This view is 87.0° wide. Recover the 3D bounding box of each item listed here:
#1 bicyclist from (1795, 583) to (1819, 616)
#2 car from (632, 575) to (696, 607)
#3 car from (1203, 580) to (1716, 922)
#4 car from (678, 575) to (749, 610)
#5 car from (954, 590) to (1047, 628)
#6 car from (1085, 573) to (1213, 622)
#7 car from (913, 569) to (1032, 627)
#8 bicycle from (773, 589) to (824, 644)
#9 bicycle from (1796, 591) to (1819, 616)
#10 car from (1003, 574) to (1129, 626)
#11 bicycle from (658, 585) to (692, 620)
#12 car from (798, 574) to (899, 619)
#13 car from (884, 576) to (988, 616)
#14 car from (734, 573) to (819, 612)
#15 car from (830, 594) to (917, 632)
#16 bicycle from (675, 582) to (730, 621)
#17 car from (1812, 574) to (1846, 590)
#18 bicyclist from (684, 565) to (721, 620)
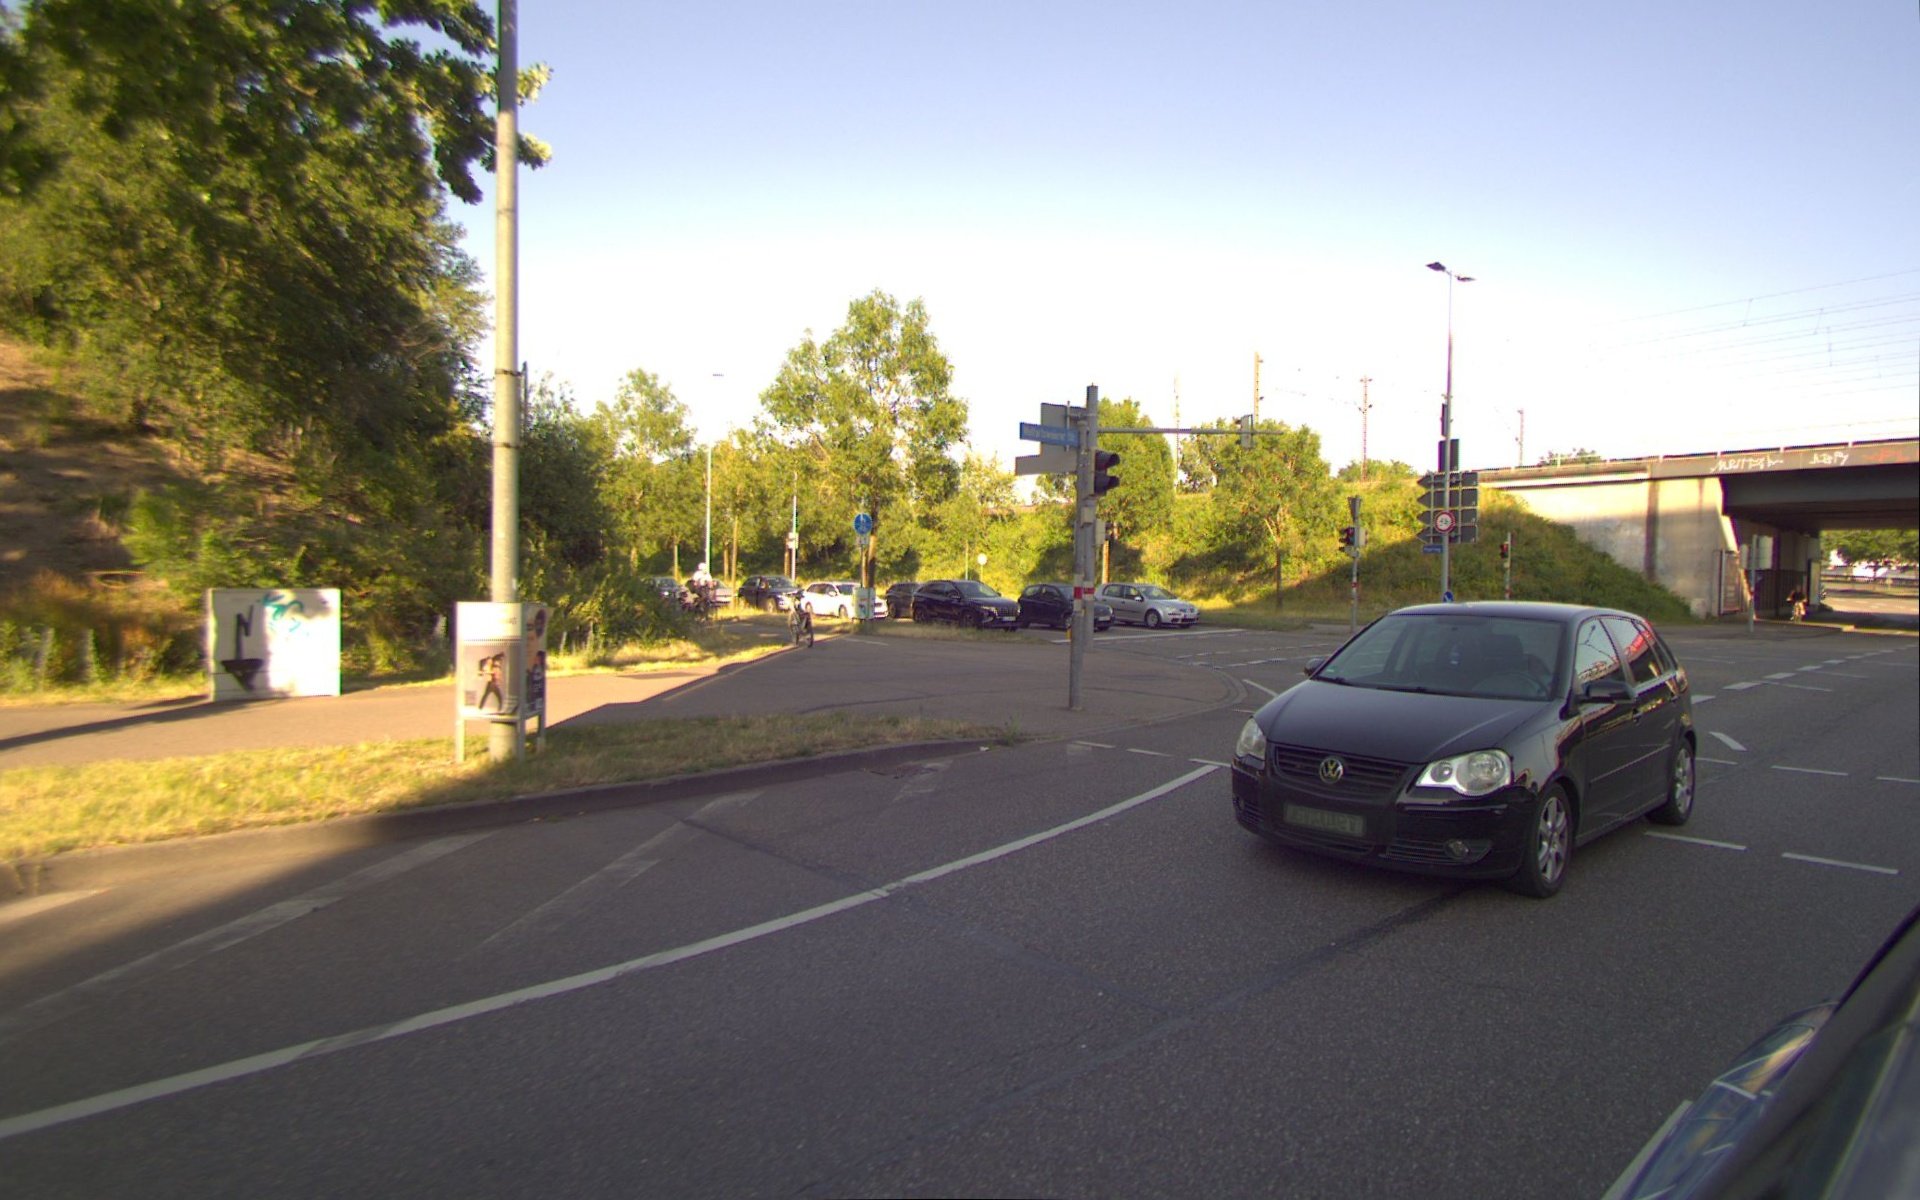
[{"bbox_3d":[38.777,-0.034,46.343,0.840,1.439,1.098,0,1,41],"label":"bicyclist"},{"bbox_3d":[-15.941,-0.484,54.369,2.002,1.587,4.343,-2,1,-34],"label":"car"},{"bbox_3d":[3.214,0.623,6.184,3.621,1.427,1.618,-2,1,-43],"label":"car"},{"bbox_3d":[-12.154,-0.379,49.686,2.002,1.587,4.343,-2,1,-34],"label":"car"},{"bbox_3d":[1.755,0.348,45.396,2.002,1.587,4.343,-2,1,-34],"label":"car"},{"bbox_3d":[6.317,-0.097,34.203,1.857,1.549,3.996,-2,1,-39],"label":"car"},{"bbox_3d":[0.329,-0.079,32.243,1.827,1.715,4.000,-2,1,-34],"label":"car"},{"bbox_3d":[-3.286,0.327,20.547,0.566,1.003,1.671,3,1,-24],"label":"bicycle"},{"bbox_3d":[38.818,0.139,46.361,0.779,1.070,2.460,0,1,41],"label":"bicycle"},{"bbox_3d":[3.405,-0.022,33.040,1.962,1.549,4.000,-2,1,-34],"label":"car"},{"bbox_3d":[-8.453,0.062,29.964,0.626,0.993,1.800,1,0,-26],"label":"bicycle"},{"bbox_3d":[-4.299,-0.154,38.386,2.002,1.587,4.343,-2,1,-34],"label":"car"},{"bbox_3d":[-0.990,-0.163,39.020,2.002,1.425,4.343,-2,1,-34],"label":"car"},{"bbox_3d":[-7.982,-0.335,43.756,2.002,1.587,4.343,-2,1,-34],"label":"car"},{"bbox_3d":[-3.886,0.531,44.870,2.002,1.587,4.343,-2,1,-34],"label":"car"},{"bbox_3d":[-7.784,0.025,30.553,0.807,1.126,2.016,-2,1,-41],"label":"bicycle"},{"bbox_3d":[83.682,-1.768,97.514,1.863,1.457,3.642,0,1,32],"label":"car"},{"bbox_3d":[-7.772,-0.236,30.526,0.779,1.614,0.858,-1,1,-41],"label":"bicyclist"}]
